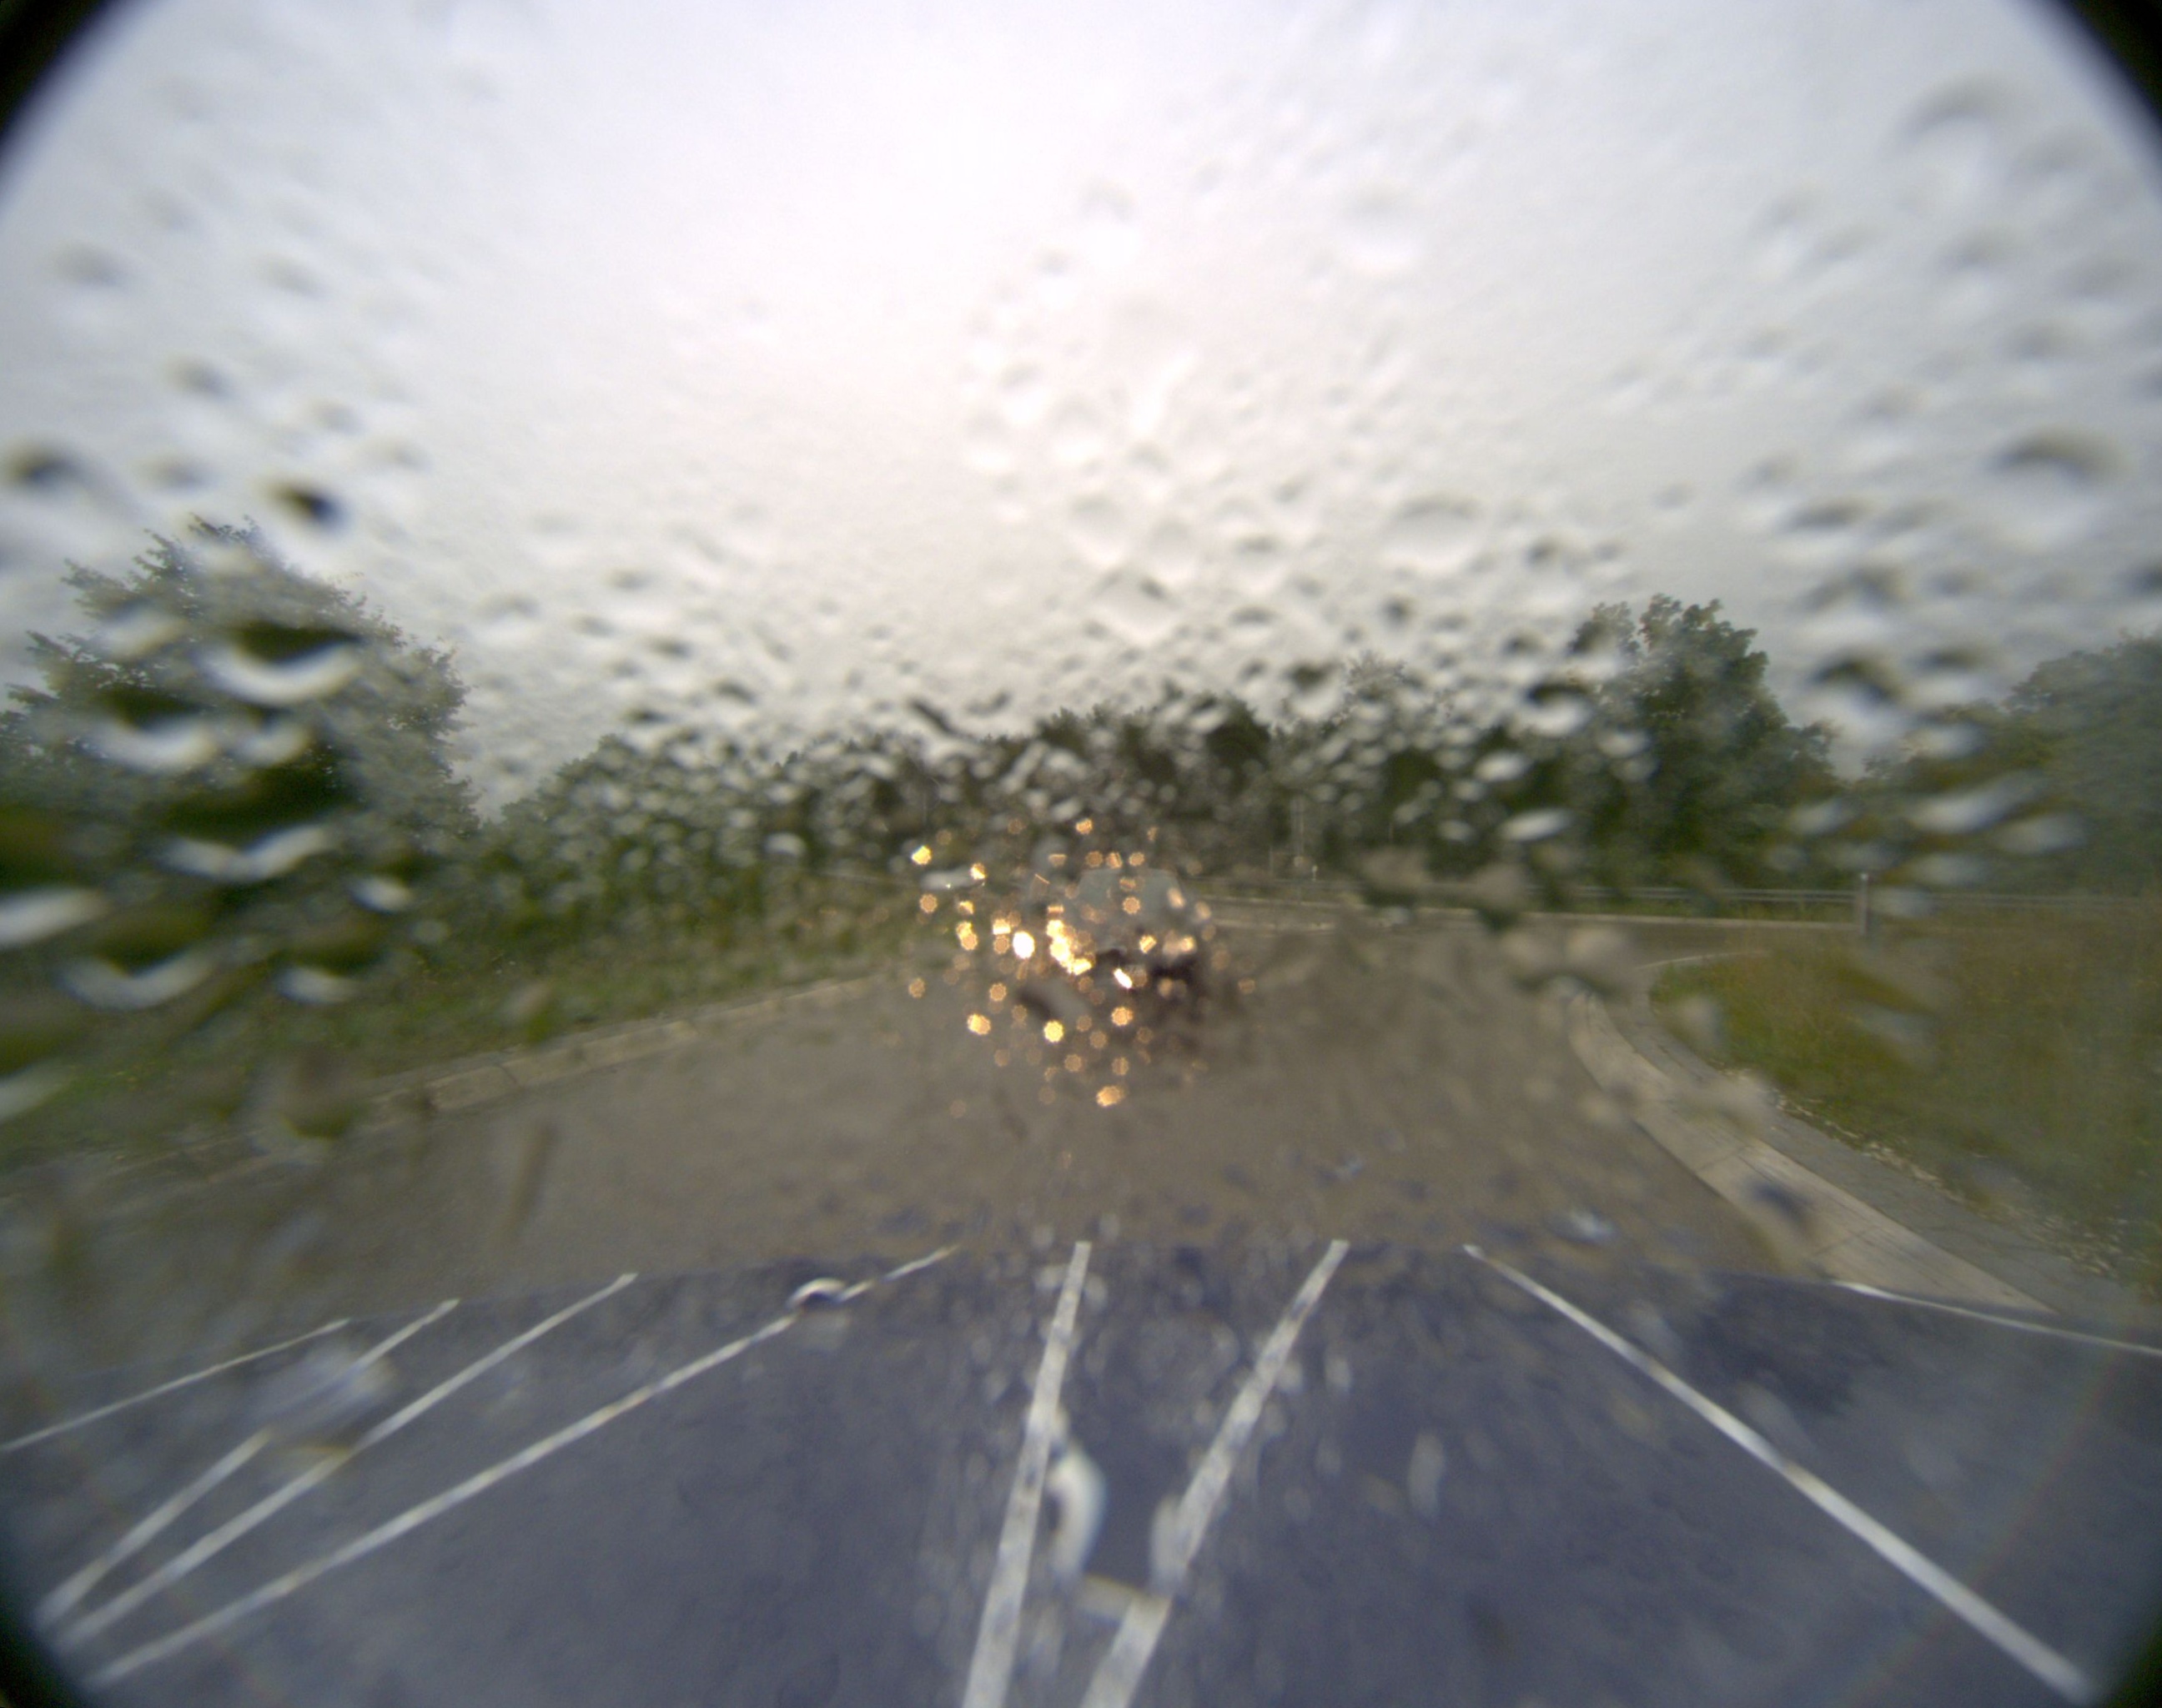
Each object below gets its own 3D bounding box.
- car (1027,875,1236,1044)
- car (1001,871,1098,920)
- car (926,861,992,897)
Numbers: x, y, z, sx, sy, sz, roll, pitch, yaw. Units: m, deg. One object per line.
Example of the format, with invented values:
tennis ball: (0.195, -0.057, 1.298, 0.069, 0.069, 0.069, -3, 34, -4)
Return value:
car: (0.684, 0.996, 9.041, 1.872, 1.412, 4.506, 0, -1, 6)
car: (-1.105, 1.205, 23.531, 1.951, 1.363, 4.497, 1, -1, -17)
car: (-5.318, 1.050, 32.642, 1.766, 1.412, 4.495, 1, -1, -23)
